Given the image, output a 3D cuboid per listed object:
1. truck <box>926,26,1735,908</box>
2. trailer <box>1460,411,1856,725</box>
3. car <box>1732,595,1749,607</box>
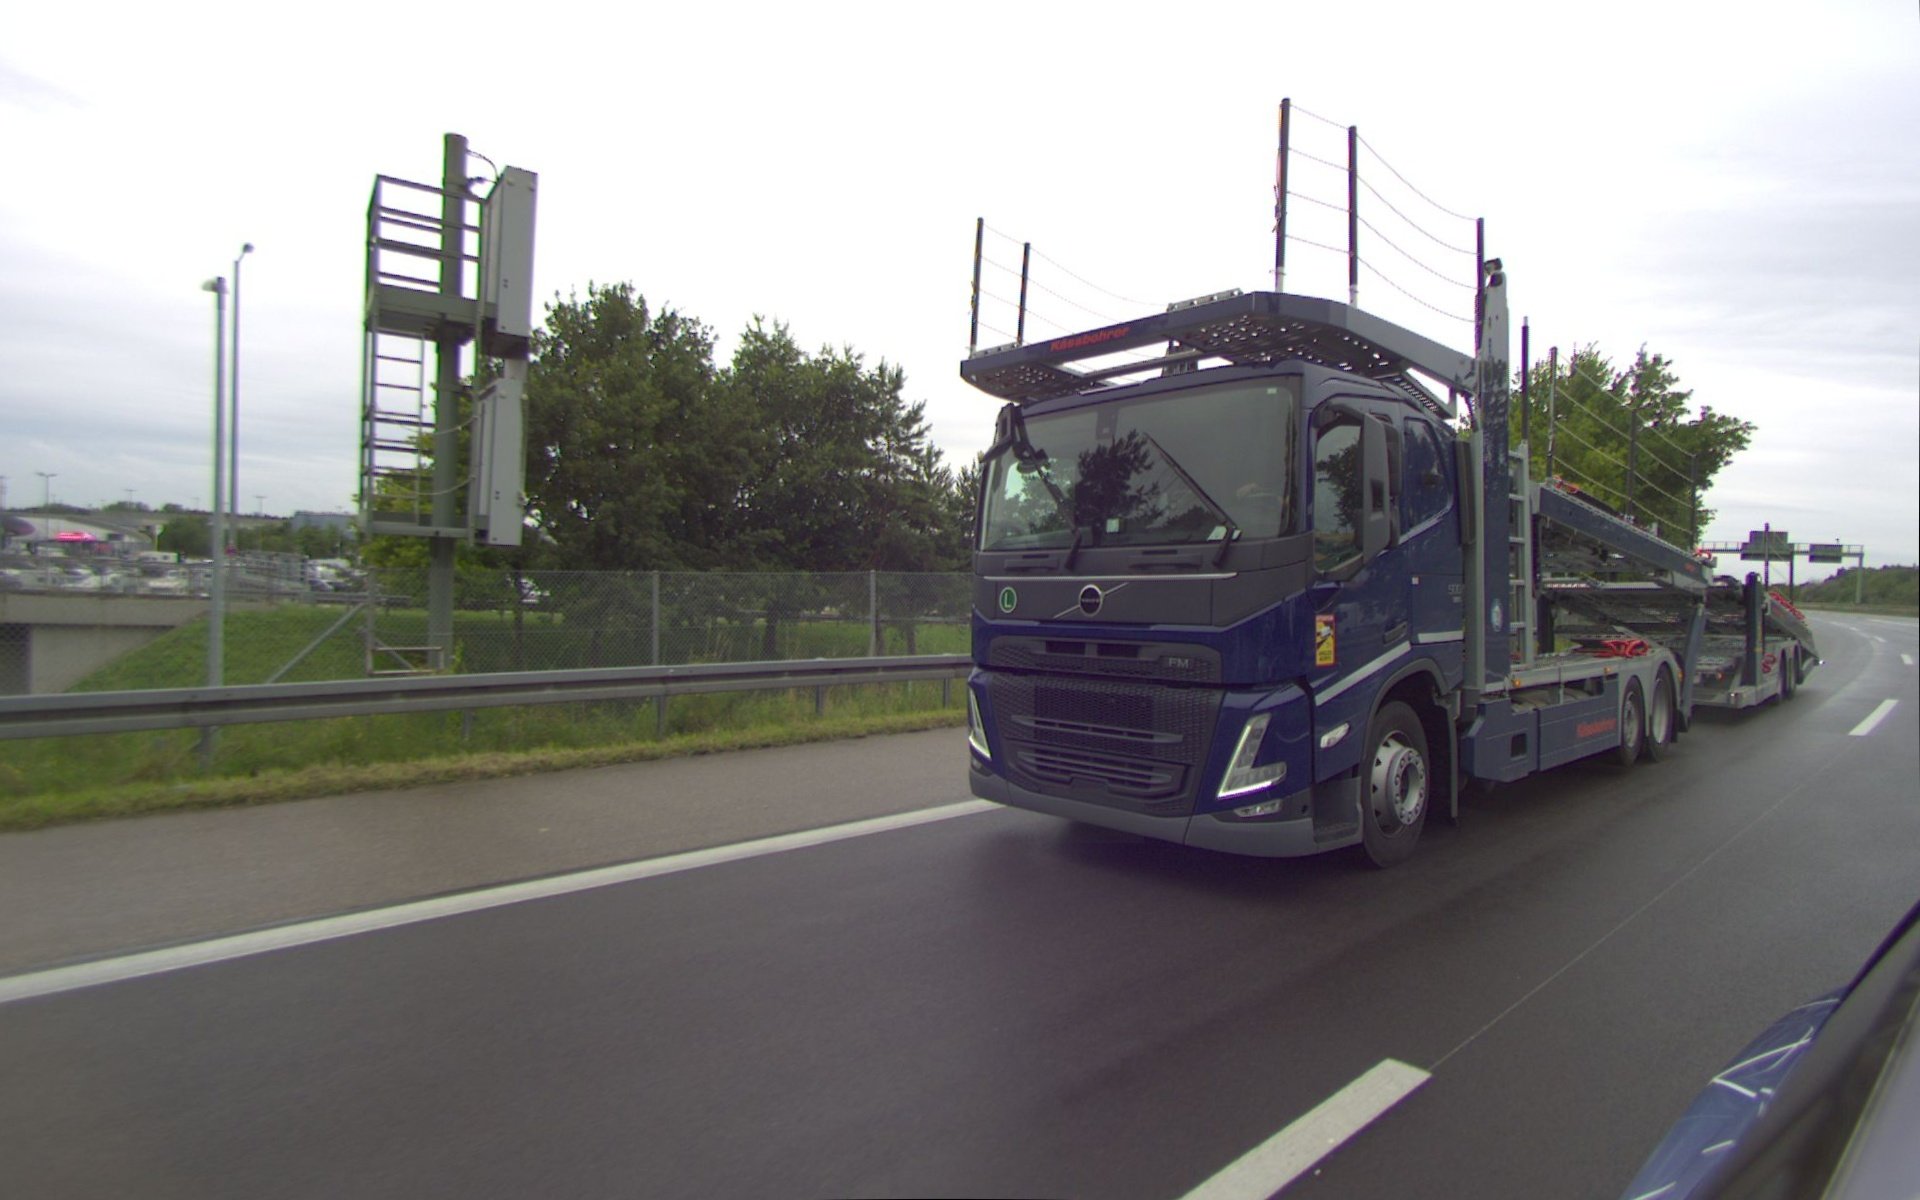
[{"bbox_3d":[3.974,-0.576,8.676,8.973,4.019,2.741,1,-1,-43],"label":"truck"},{"bbox_3d":[11.017,-0.371,15.273,10.231,3.326,2.781,0,1,-43],"label":"trailer"},{"bbox_3d":[121.816,0.150,157.955,1.618,1.661,3.737,1,2,31],"label":"car"}]
